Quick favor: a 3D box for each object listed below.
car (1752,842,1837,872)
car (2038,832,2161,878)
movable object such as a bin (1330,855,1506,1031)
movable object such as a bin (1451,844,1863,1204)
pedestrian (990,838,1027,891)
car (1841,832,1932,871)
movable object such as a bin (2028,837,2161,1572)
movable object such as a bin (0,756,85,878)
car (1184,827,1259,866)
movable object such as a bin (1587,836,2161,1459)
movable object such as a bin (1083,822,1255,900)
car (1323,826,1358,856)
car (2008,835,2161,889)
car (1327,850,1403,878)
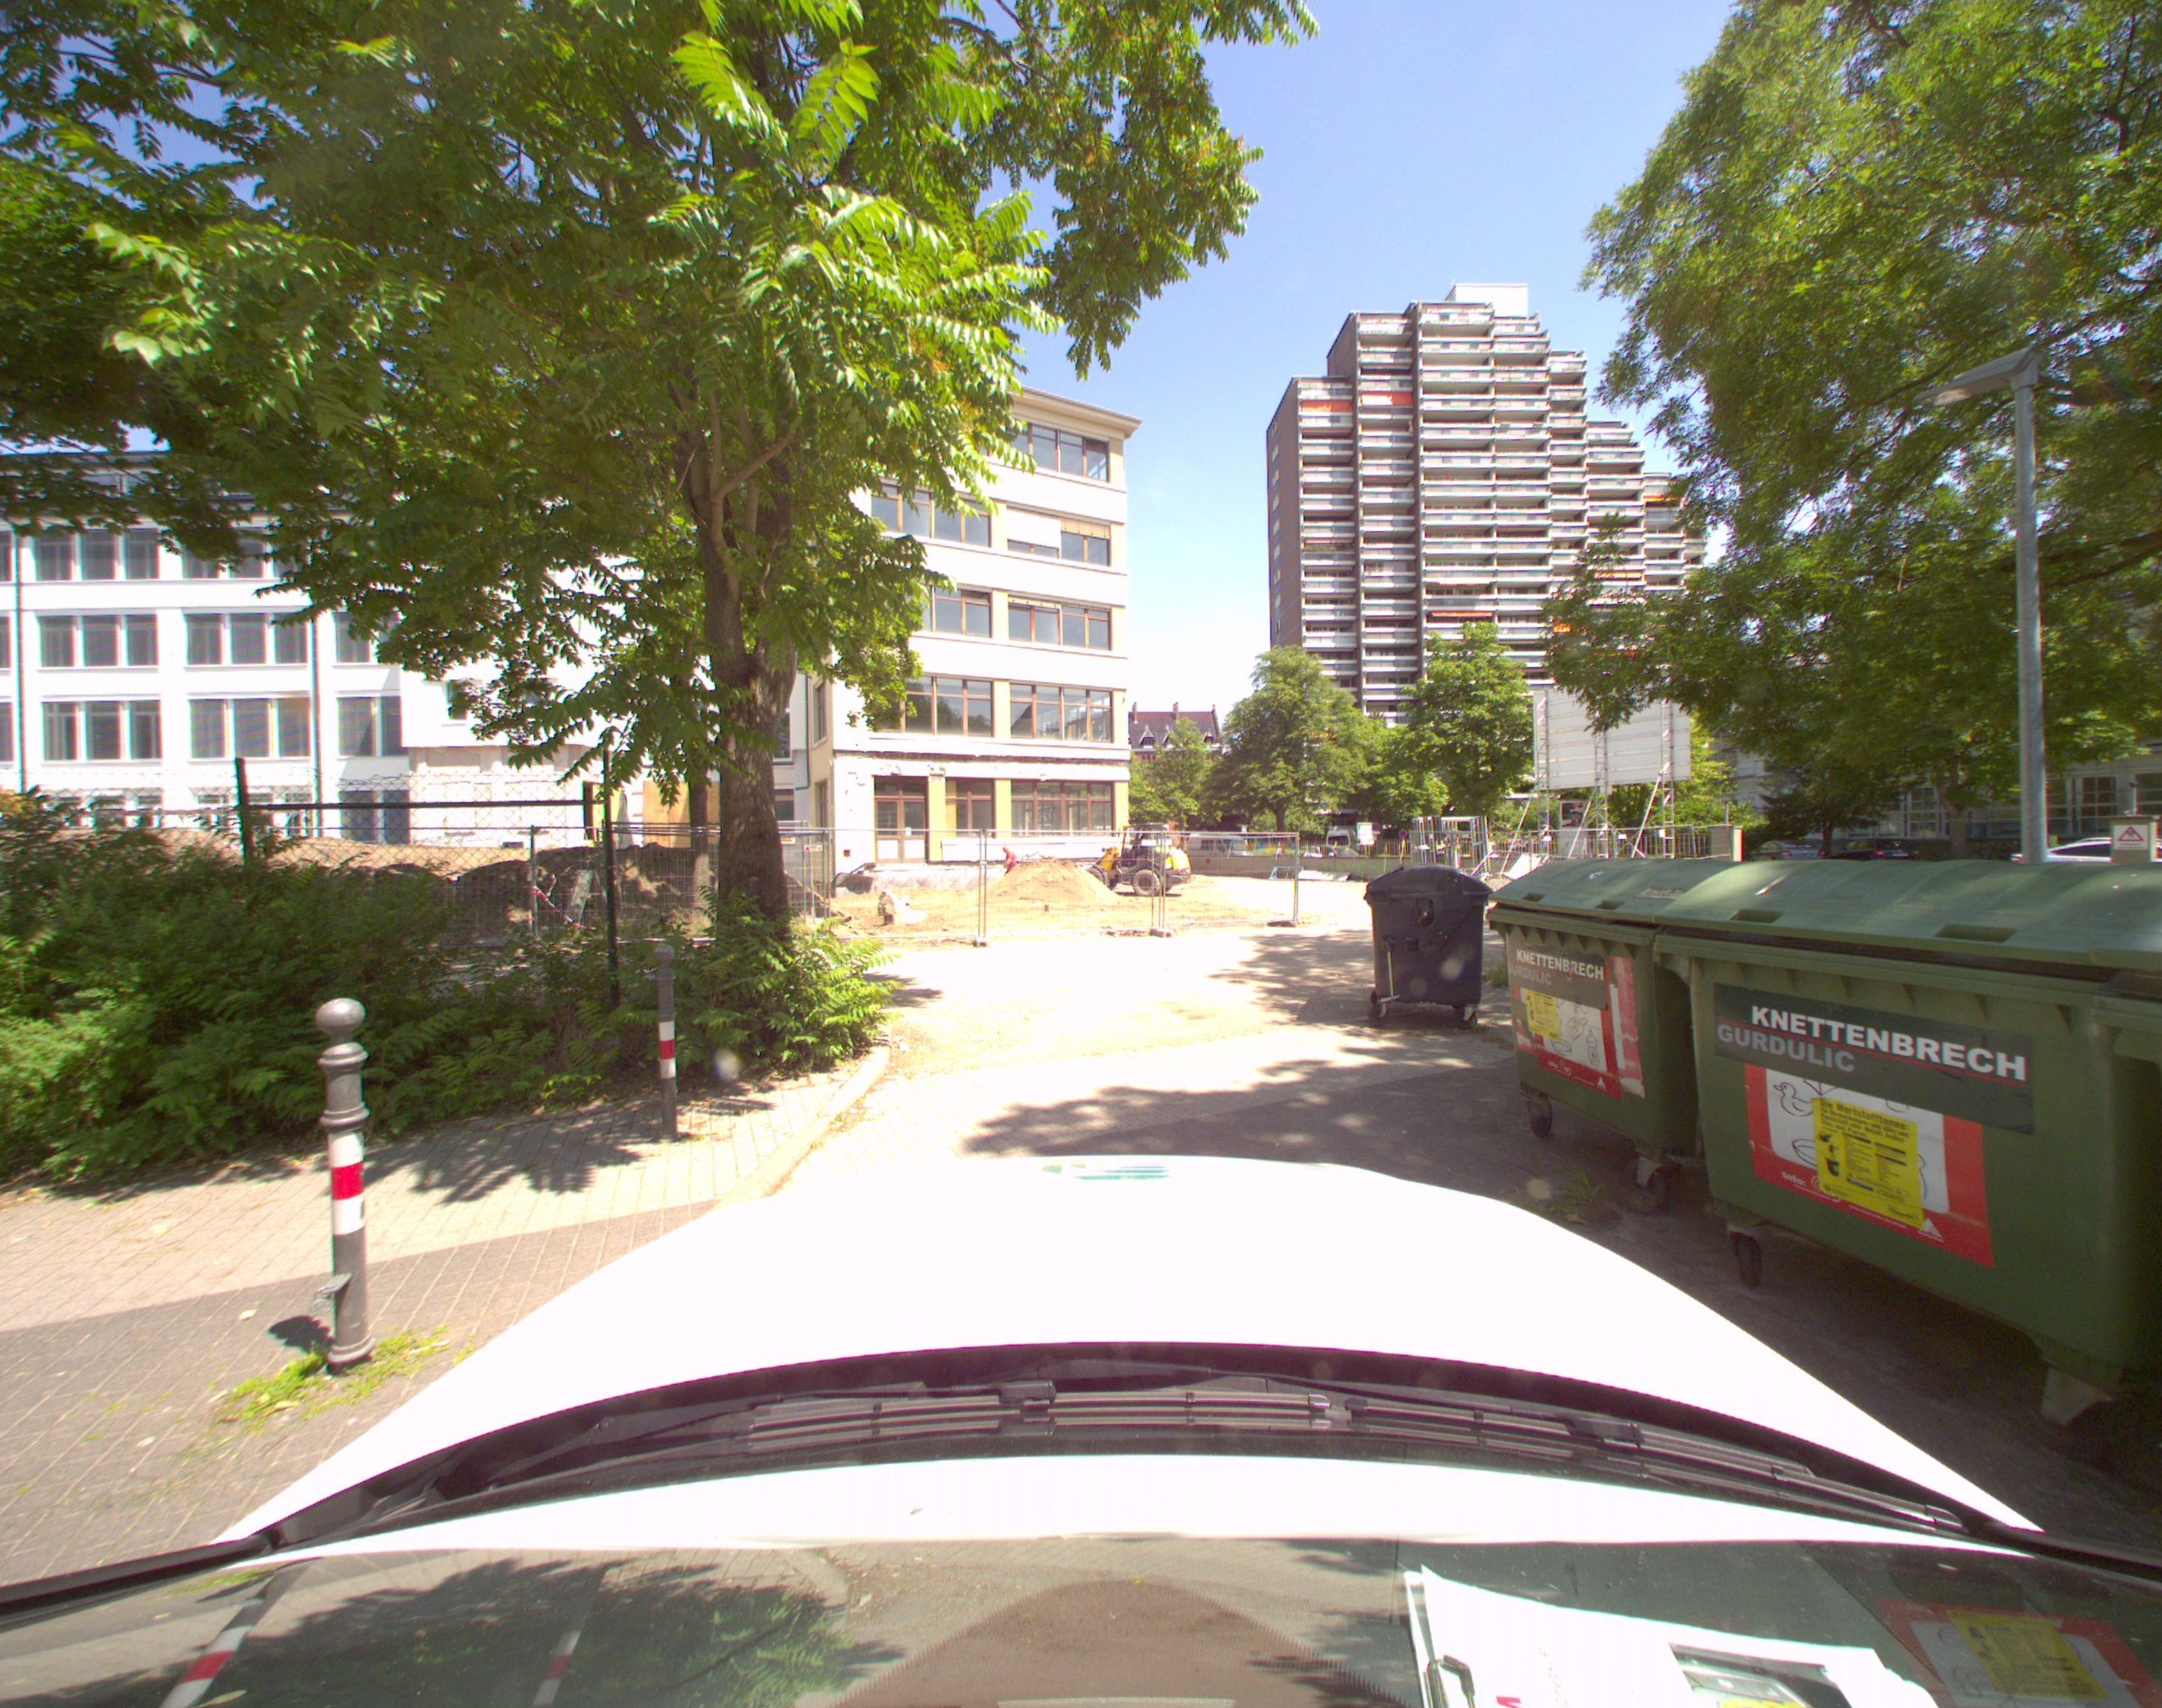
[{"bbox_3d":[33.931,0.120,38.864,1.897,1.310,3.952,-1,0,23],"label":"car"},{"bbox_3d":[38.687,0.016,30.690,1.651,1.589,3.708,-1,0,16],"label":"car"},{"bbox_3d":[3.039,0.749,7.527,1.071,1.458,1.378,-1,0,2],"label":"movable object such as a bin"},{"bbox_3d":[2.667,0.695,4.023,1.071,1.458,1.378,-1,0,2],"label":"movable object such as a bin"},{"bbox_3d":[-2.587,0.365,28.996,0.906,1.847,0.992,-1,0,23],"label":"pedestrian"},{"bbox_3d":[35.714,-0.132,36.247,1.992,1.629,3.955,-1,0,31],"label":"car"},{"bbox_3d":[2.649,0.689,1.128,1.071,1.458,1.378,-1,0,2],"label":"movable object such as a bin"},{"bbox_3d":[-40.893,-1.270,30.223,5.678,4.372,2.003,-1,0,4],"label":"movable object such as a bin"},{"bbox_3d":[8.993,-0.474,52.730,2.005,2.416,5.196,-1,0,-28],"label":"car"},{"bbox_3d":[2.576,0.686,2.601,1.071,1.458,1.378,-1,0,2],"label":"movable object such as a bin"},{"bbox_3d":[3.015,0.178,27.933,5.354,2.464,2.382,1,1,25],"label":"movable object such as a bin"},{"bbox_3d":[20.591,-1.012,64.580,2.165,2.258,4.895,-1,0,23],"label":"car"},{"bbox_3d":[29.673,0.207,22.808,1.677,1.437,4.644,-1,0,-27],"label":"car"},{"bbox_3d":[14.700,0.508,42.130,3.735,1.320,1.599,-1,0,-29],"label":"car"}]
